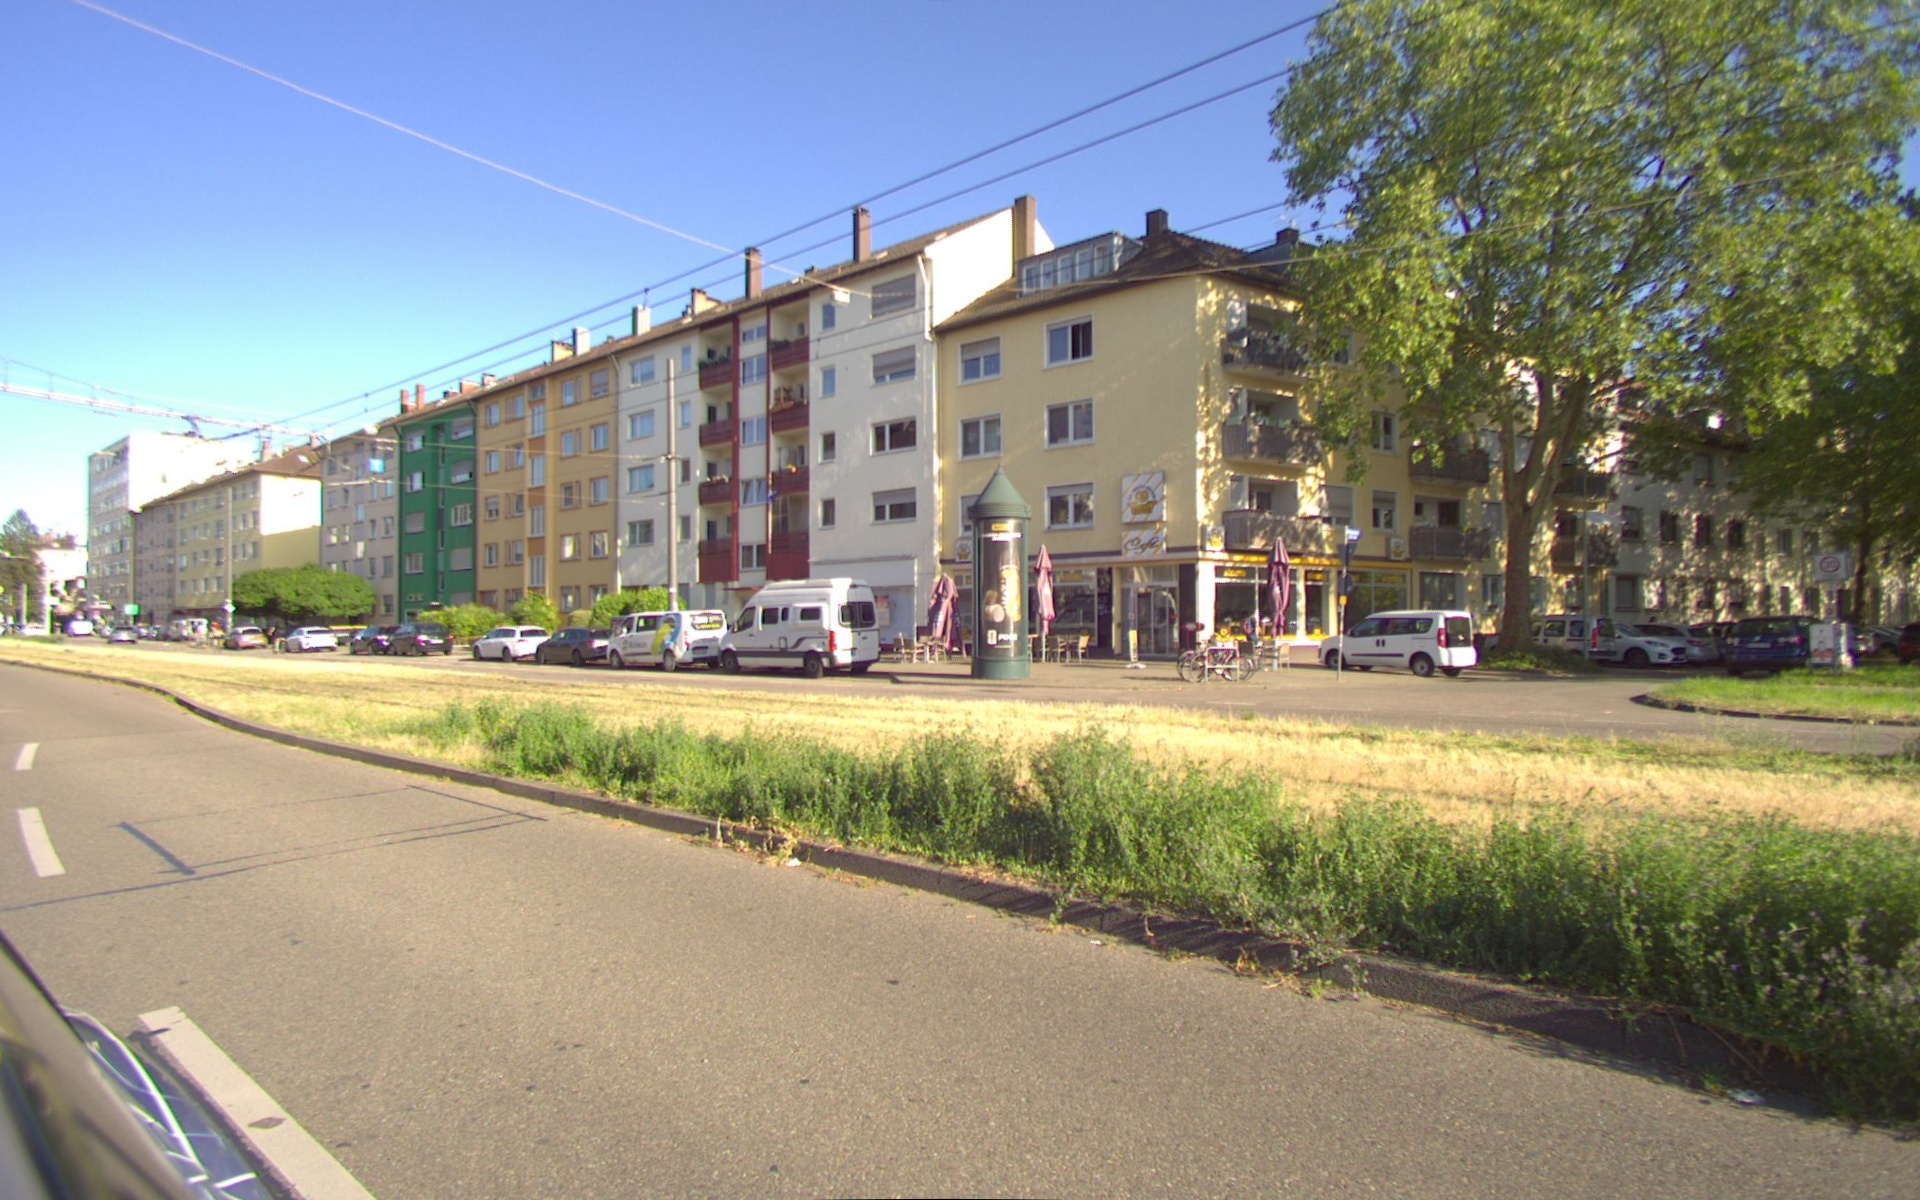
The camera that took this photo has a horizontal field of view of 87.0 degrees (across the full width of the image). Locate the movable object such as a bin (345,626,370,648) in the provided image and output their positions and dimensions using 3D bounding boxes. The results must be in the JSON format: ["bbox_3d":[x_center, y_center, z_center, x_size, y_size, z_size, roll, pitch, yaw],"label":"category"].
[{"bbox_3d":[-40.696,2.502,68.345,1.039,1.378,1.134,-1,1,43],"label":"movable object such as a bin"}]

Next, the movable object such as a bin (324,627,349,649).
[{"bbox_3d":[-41.496,2.543,67.337,1.039,1.378,1.134,-1,1,43],"label":"movable object such as a bin"}]

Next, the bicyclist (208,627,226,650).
[{"bbox_3d":[-45.562,2.356,62.037,0.648,1.394,0.765,-2,-2,40],"label":"bicyclist"}]

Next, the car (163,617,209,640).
[{"bbox_3d":[-71.866,2.647,93.943,5.492,1.964,1.975,-2,1,38],"label":"car"}]

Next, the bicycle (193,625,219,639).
[{"bbox_3d":[-67.300,2.875,90.341,0.390,1.114,1.801,-2,1,40],"label":"bicycle"}]

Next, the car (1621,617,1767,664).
[{"bbox_3d":[27.513,1.502,38.063,1.850,1.626,4.012,2,-2,-30],"label":"car"}]

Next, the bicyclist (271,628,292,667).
[{"bbox_3d":[-36.960,2.578,55.148,0.648,2.029,0.765,-2,1,40],"label":"bicyclist"}]

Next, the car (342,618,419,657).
[{"bbox_3d":[-29.886,1.922,52.112,4.606,1.851,1.973,-1,1,41],"label":"car"}]

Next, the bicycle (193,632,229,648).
[{"bbox_3d":[-55.515,2.971,75.018,2.024,1.101,0.616,-3,1,-44],"label":"bicycle"}]

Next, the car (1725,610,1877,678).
[{"bbox_3d":[21.578,1.084,25.954,3.932,1.613,1.755,0,-2,-31],"label":"car"}]

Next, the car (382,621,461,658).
[{"bbox_3d":[-26.048,1.885,48.882,4.148,1.620,1.973,-1,1,41],"label":"car"}]

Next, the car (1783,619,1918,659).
[{"bbox_3d":[39.534,1.697,45.019,1.966,1.677,4.074,2,-1,-30],"label":"car"}]

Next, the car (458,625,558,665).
[{"bbox_3d":[-18.962,1.870,42.405,4.697,1.503,1.874,-2,0,39],"label":"car"}]

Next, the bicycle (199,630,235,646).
[{"bbox_3d":[-54.142,2.758,73.754,2.024,1.101,0.616,-3,1,-44],"label":"bicycle"}]

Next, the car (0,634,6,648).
[{"bbox_3d":[-114.610,4.812,119.749,4.235,1.562,1.838,-2,-4,38],"label":"car"}]

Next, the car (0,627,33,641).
[{"bbox_3d":[-102.869,3.734,110.348,4.405,1.540,1.767,-2,-3,35],"label":"car"}]

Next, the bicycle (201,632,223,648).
[{"bbox_3d":[-52.422,2.804,70.927,1.927,1.101,0.506,-2,1,29],"label":"bicycle"}]

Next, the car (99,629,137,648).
[{"bbox_3d":[-66.271,3.051,79.624,4.215,1.459,1.676,-2,-3,41],"label":"car"}]

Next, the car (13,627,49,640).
[{"bbox_3d":[-98.017,3.531,106.798,4.404,1.395,1.818,-2,-3,35],"label":"car"}]

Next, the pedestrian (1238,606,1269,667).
[{"bbox_3d":[8.984,1.116,30.987,0.833,1.798,0.684,-2,0,16],"label":"pedestrian"}]

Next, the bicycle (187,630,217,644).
[{"bbox_3d":[-68.642,3.319,91.698,0.472,1.114,2.076,-2,1,40],"label":"bicycle"}]

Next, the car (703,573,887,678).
[{"bbox_3d":[-5.128,0.758,30.730,6.225,2.890,2.011,-1,-1,42],"label":"car"}]

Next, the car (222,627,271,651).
[{"bbox_3d":[-47.481,2.589,67.325,3.729,1.453,1.620,-1,0,38],"label":"car"}]

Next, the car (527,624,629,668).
[{"bbox_3d":[-14.700,1.731,38.828,4.320,1.526,1.678,-1,-1,38],"label":"car"}]

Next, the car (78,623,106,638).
[{"bbox_3d":[-96.973,3.382,113.025,4.196,1.497,1.741,-1,1,40],"label":"car"}]

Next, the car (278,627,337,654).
[{"bbox_3d":[-37.932,2.337,58.781,4.373,1.465,1.711,-1,-1,41],"label":"car"}]

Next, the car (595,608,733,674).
[{"bbox_3d":[-10.341,1.372,35.145,5.368,2.036,2.011,-1,1,42],"label":"car"}]

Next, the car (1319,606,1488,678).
[{"bbox_3d":[12.757,1.143,29.290,1.967,1.840,4.010,-2,1,-35],"label":"car"}]

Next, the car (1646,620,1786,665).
[{"bbox_3d":[29.623,1.641,39.771,1.850,1.626,4.012,2,-2,-30],"label":"car"}]

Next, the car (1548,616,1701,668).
[{"bbox_3d":[23.313,1.428,35.644,1.966,1.677,4.074,2,-1,-30],"label":"car"}]

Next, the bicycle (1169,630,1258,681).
[{"bbox_3d":[6.176,1.350,24.735,2.065,1.193,0.518,0,1,7],"label":"bicycle"}]

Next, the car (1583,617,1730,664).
[{"bbox_3d":[25.369,1.454,36.998,1.850,1.582,4.012,2,-2,-30],"label":"car"}]

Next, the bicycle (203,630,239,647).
[{"bbox_3d":[-53.570,2.788,73.343,2.024,1.101,0.616,-3,1,-44],"label":"bicycle"}]

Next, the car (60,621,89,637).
[{"bbox_3d":[-112.360,3.627,128.411,4.664,1.912,1.974,-2,1,38],"label":"car"}]

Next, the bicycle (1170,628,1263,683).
[{"bbox_3d":[6.114,1.323,24.188,2.065,1.261,0.518,-1,1,7],"label":"bicycle"}]

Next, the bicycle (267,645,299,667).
[{"bbox_3d":[-36.761,3.031,54.951,2.473,1.155,0.760,-1,-4,41],"label":"bicycle"}]

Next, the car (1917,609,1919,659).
[{"bbox_3d":[34.320,1.118,34.248,3.932,1.697,1.755,0,-2,-31],"label":"car"}]

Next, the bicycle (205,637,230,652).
[{"bbox_3d":[-45.461,2.700,61.970,2.067,0.886,0.760,-1,-3,41],"label":"bicycle"}]

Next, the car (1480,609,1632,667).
[{"bbox_3d":[20.343,1.255,34.697,1.966,1.857,4.012,2,-2,-30],"label":"car"}]
